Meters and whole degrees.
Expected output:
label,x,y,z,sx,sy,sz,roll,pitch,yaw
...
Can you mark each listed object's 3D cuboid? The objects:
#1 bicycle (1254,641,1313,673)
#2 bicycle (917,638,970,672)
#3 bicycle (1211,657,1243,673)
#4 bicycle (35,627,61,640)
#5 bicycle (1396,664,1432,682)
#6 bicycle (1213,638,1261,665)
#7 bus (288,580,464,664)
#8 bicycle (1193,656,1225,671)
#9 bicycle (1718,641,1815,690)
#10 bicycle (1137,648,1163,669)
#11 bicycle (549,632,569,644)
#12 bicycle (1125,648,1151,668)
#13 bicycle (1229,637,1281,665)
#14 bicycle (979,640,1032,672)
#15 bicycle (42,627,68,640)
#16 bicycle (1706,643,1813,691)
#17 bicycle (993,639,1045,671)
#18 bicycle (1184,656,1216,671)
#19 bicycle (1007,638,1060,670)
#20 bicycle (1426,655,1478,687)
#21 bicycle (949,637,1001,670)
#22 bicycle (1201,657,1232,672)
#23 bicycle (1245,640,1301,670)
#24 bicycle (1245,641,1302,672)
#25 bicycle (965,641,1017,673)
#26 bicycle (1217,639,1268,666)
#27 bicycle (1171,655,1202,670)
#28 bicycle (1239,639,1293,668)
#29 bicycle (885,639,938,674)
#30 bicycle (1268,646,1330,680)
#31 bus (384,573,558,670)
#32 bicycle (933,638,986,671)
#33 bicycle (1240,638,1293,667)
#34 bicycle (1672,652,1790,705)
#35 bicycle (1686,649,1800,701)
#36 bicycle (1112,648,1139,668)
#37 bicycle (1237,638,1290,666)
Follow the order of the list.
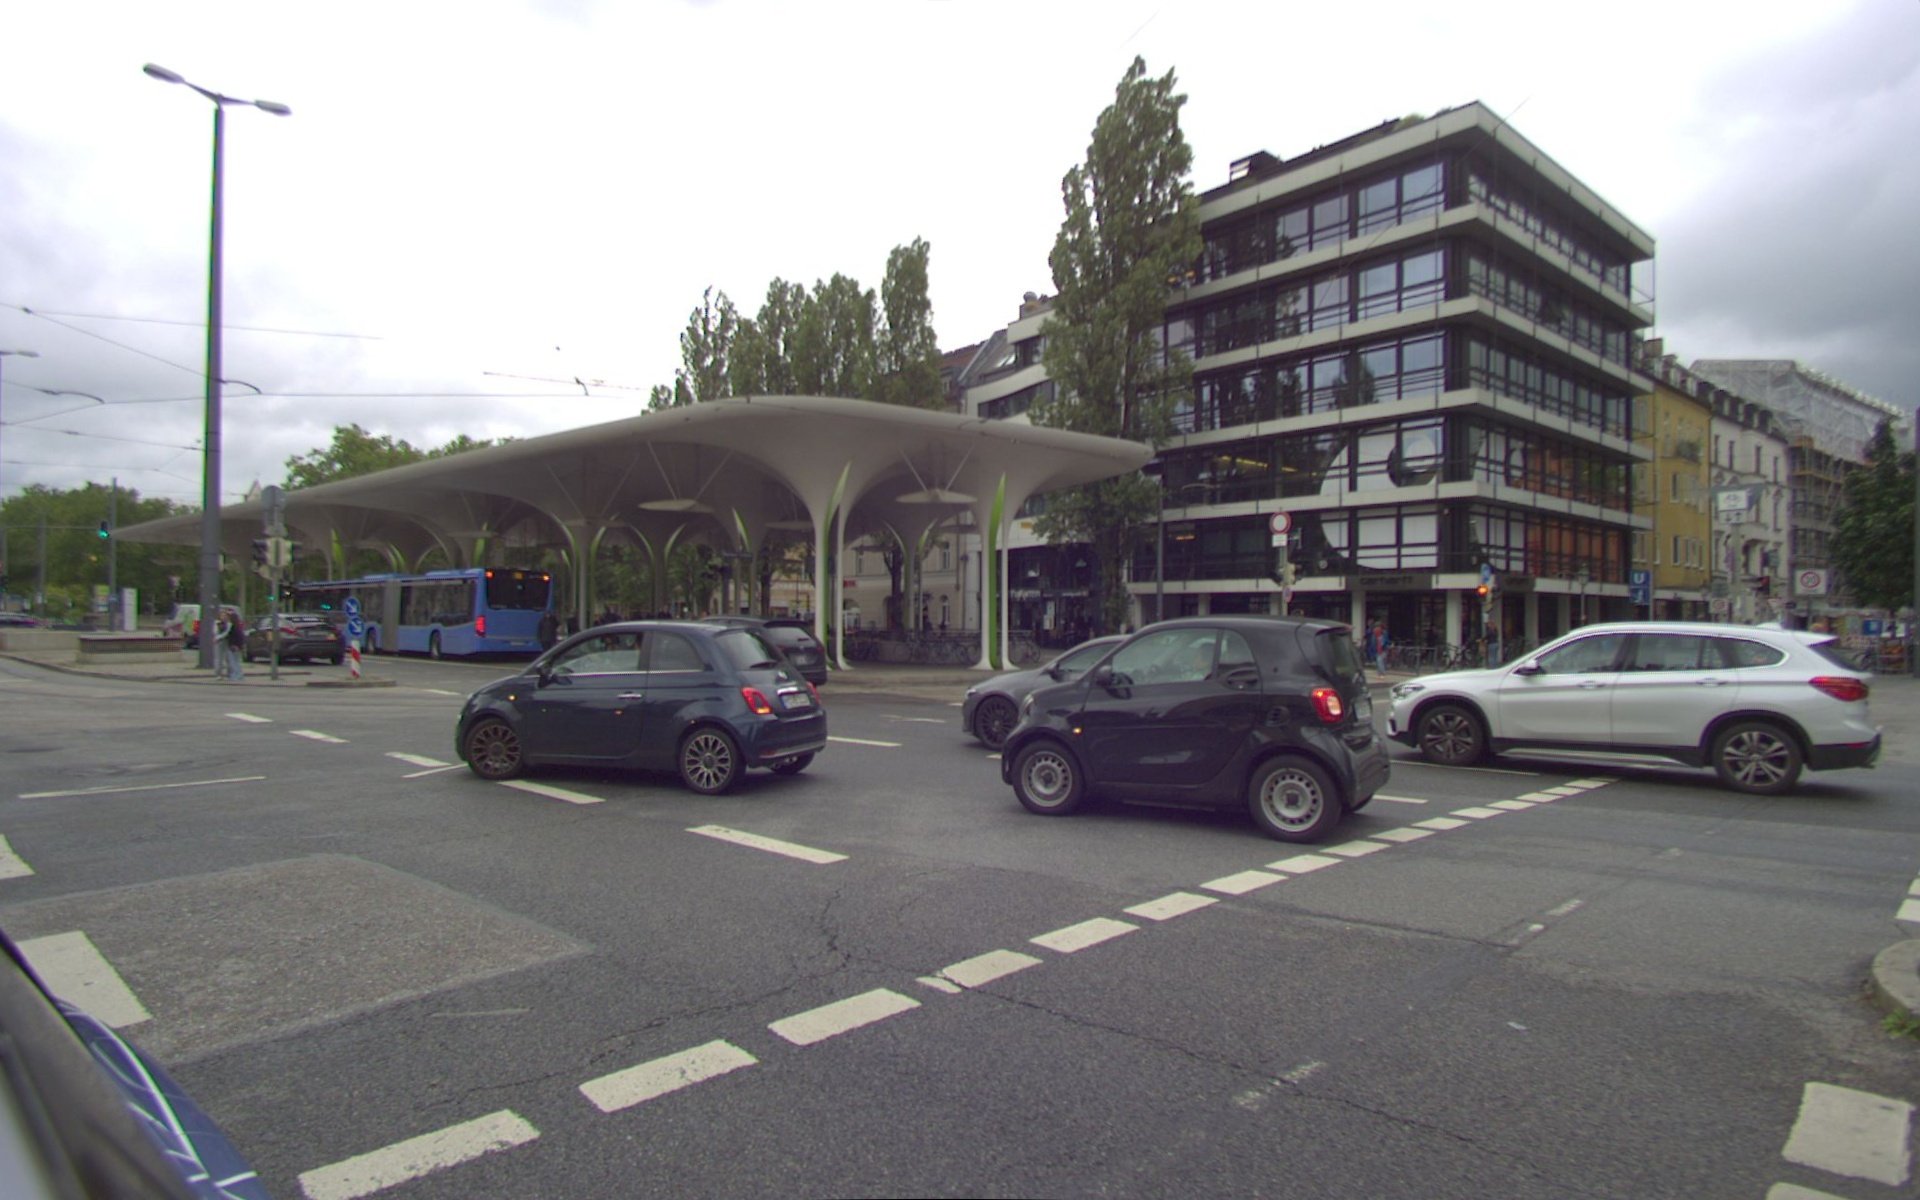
label,x,y,z,sx,sy,sz,roll,pitch,yaw
bicycle,10.240,1.808,32.040,1.719,0.946,0.451,1,-1,22
bicycle,-0.585,1.917,35.362,0.645,1.127,2.186,1,-2,-39
bicycle,11.555,2.796,43.756,1.607,0.637,0.364,1,-2,-34
bicycle,-83.968,3.114,93.142,0.560,1.181,1.675,-1,-2,31
bicycle,16.770,2.688,37.406,1.607,0.637,0.430,1,-2,-34
bicycle,10.241,1.900,37.394,1.702,0.946,0.456,2,-1,-14
bus,-23.898,0.949,41.046,10.506,3.031,2.633,-1,-4,40
bicycle,10.967,2.797,44.514,1.607,0.637,0.364,1,-2,-34
bicycle,20.559,1.652,25.824,1.893,1.119,0.578,1,-1,42
bicycle,9.043,2.774,48.130,0.449,0.933,1.804,-1,-2,38
bicycle,-36.646,3.471,92.456,2.523,1.138,0.636,-1,-2,42
bicycle,8.541,2.784,48.513,0.449,0.933,1.804,-1,-2,38
bicycle,10.555,1.815,36.199,1.705,0.946,0.455,1,-1,-5
bicycle,1.640,2.031,37.045,0.645,1.127,2.186,1,-2,-39
bicycle,-82.862,3.090,92.645,0.560,1.181,1.675,-1,-2,31
bicycle,19.317,1.602,24.481,1.986,1.005,0.521,1,0,42
bicycle,2.170,2.018,37.428,0.645,1.127,2.186,1,-2,-39
bicycle,10.658,2.813,44.900,1.607,0.637,0.364,1,-2,-34
bicycle,2.729,2.003,37.851,0.645,1.127,2.186,1,-2,-39
bicycle,17.445,2.512,35.882,1.611,1.082,0.429,0,-2,0
bicycle,0.522,1.889,36.182,0.645,1.127,2.186,1,-2,-39
bicycle,11.204,2.803,44.214,1.607,0.637,0.364,1,-2,-34
bicycle,10.431,1.826,33.704,1.707,0.946,0.455,1,-1,1
bicycle,10.088,1.810,32.586,1.718,0.946,0.452,1,-1,20
bicycle,1.111,2.045,36.644,0.645,1.127,2.186,1,-2,-39
bicycle,10.242,1.903,36.676,1.705,0.946,0.455,1,-1,-5
bicycle,10.198,2.826,45.513,1.607,0.637,0.364,1,-2,-34
bicycle,10.388,1.825,34.358,1.704,0.946,0.456,1,-1,-7
bicycle,-1.668,1.910,34.560,0.633,1.133,2.169,1,-2,-39
bicycle,10.039,1.857,30.008,1.719,0.946,0.452,1,-1,21
bus,-17.109,0.795,35.191,7.509,3.031,2.632,-1,-4,41
bicycle,-0.044,1.903,35.766,0.645,1.127,2.186,1,-2,-39
bicycle,10.572,1.819,34.953,1.704,0.946,0.456,1,-1,-7
bicycle,16.662,1.676,21.896,1.986,1.005,0.521,1,0,42
bicycle,17.449,1.652,22.590,1.986,1.005,0.521,1,0,42
bicycle,8.047,2.794,49.147,0.449,0.933,1.804,-1,-2,38
bicycle,10.636,1.816,35.495,1.704,0.946,0.456,1,-1,-7
